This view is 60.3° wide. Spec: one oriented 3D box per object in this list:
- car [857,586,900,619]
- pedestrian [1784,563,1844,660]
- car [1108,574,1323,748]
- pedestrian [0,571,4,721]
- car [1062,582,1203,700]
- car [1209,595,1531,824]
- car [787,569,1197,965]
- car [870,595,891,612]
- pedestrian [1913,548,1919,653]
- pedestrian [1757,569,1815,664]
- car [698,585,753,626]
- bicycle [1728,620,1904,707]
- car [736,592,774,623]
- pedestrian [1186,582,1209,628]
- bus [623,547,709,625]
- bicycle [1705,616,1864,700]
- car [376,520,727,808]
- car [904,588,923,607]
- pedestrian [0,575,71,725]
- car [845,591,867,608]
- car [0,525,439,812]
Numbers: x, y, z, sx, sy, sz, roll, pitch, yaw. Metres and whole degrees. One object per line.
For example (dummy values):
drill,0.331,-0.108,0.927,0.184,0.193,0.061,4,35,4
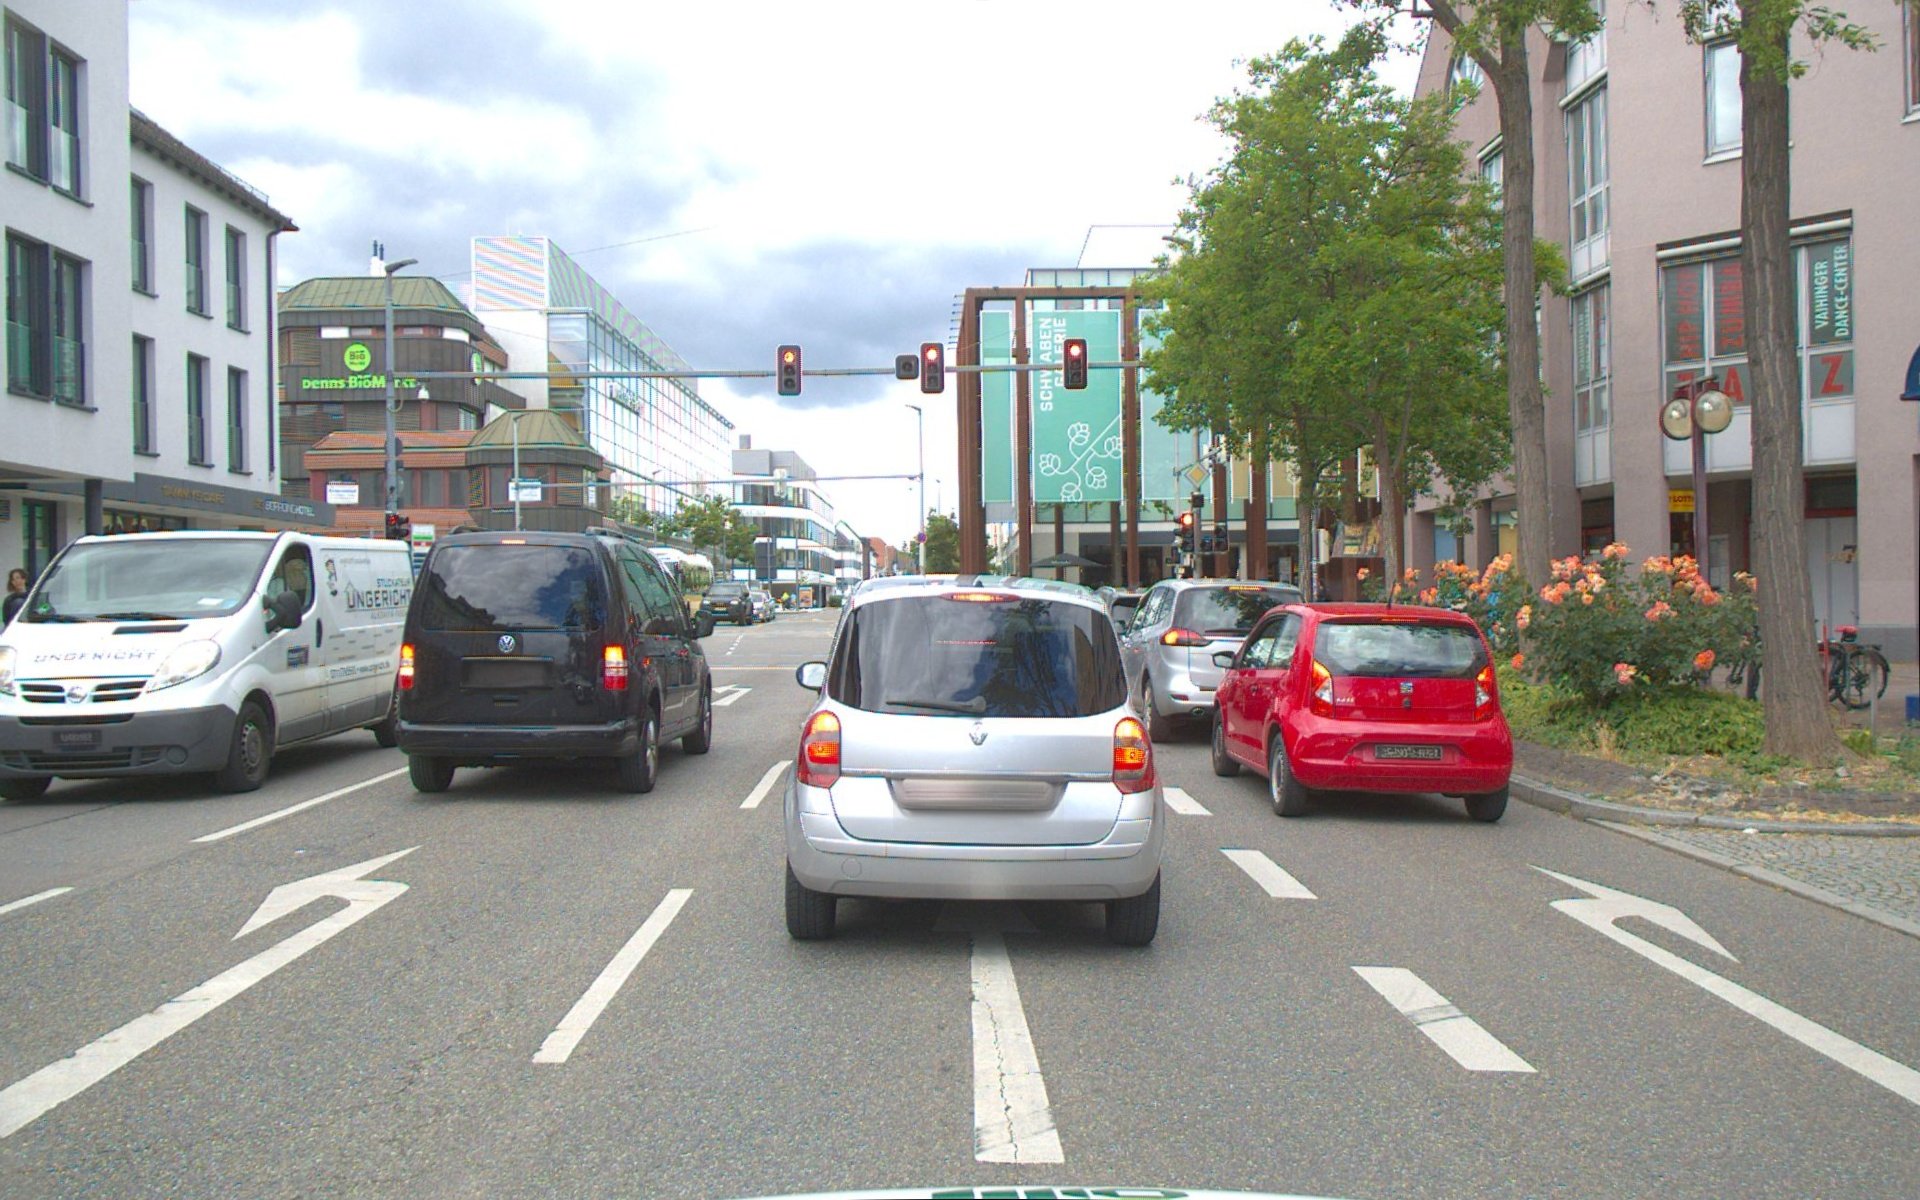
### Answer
car,-4.368,0.125,89.261,1.877,1.706,4.244,0,0,4
pedestrian,14.197,0.180,27.508,0.653,1.591,0.617,0,0,-23
car,2.664,0.580,18.050,1.555,1.662,3.914,1,0,-3
pedestrian,-11.979,0.568,19.814,0.668,1.821,0.648,-1,0,-4
car,2.554,0.569,25.222,1.555,1.623,3.866,1,0,-3
car,2.965,0.721,12.607,1.554,1.468,3.348,1,0,-1
car,0.097,0.653,8.232,1.606,1.554,3.393,1,0,-1
car,-7.519,0.297,157.196,1.764,1.567,4.065,0,0,0
pedestrian,15.888,0.004,26.925,0.624,1.706,0.588,0,0,28
pedestrian,13.609,0.257,27.261,0.601,1.542,0.617,0,0,-23
car,-10.192,0.212,72.178,1.953,1.735,4.063,0,0,-2
bicycle,10.346,0.758,20.019,1.861,1.014,0.468,-1,0,3
car,-9.872,0.339,79.762,1.524,1.417,3.286,0,0,-2
pedestrian,8.703,0.168,60.634,0.641,1.679,0.557,-1,0,-15
bus,-13.179,-0.633,74.875,2.633,3.318,8.650,0,0,-2
bicycle,10.240,0.720,20.571,1.731,1.014,0.447,-1,0,3
car,-3.036,0.415,13.303,1.709,1.887,4.633,1,0,-1
car,-4.943,-0.284,175.171,1.953,1.983,4.949,0,0,-2
pedestrian,-11.307,0.598,20.210,0.558,1.806,0.646,-1,0,-7
car,-9.815,-0.047,156.772,1.764,1.567,4.065,0,0,0
car,-6.155,0.454,13.940,1.953,1.921,5.157,-2,0,-1
